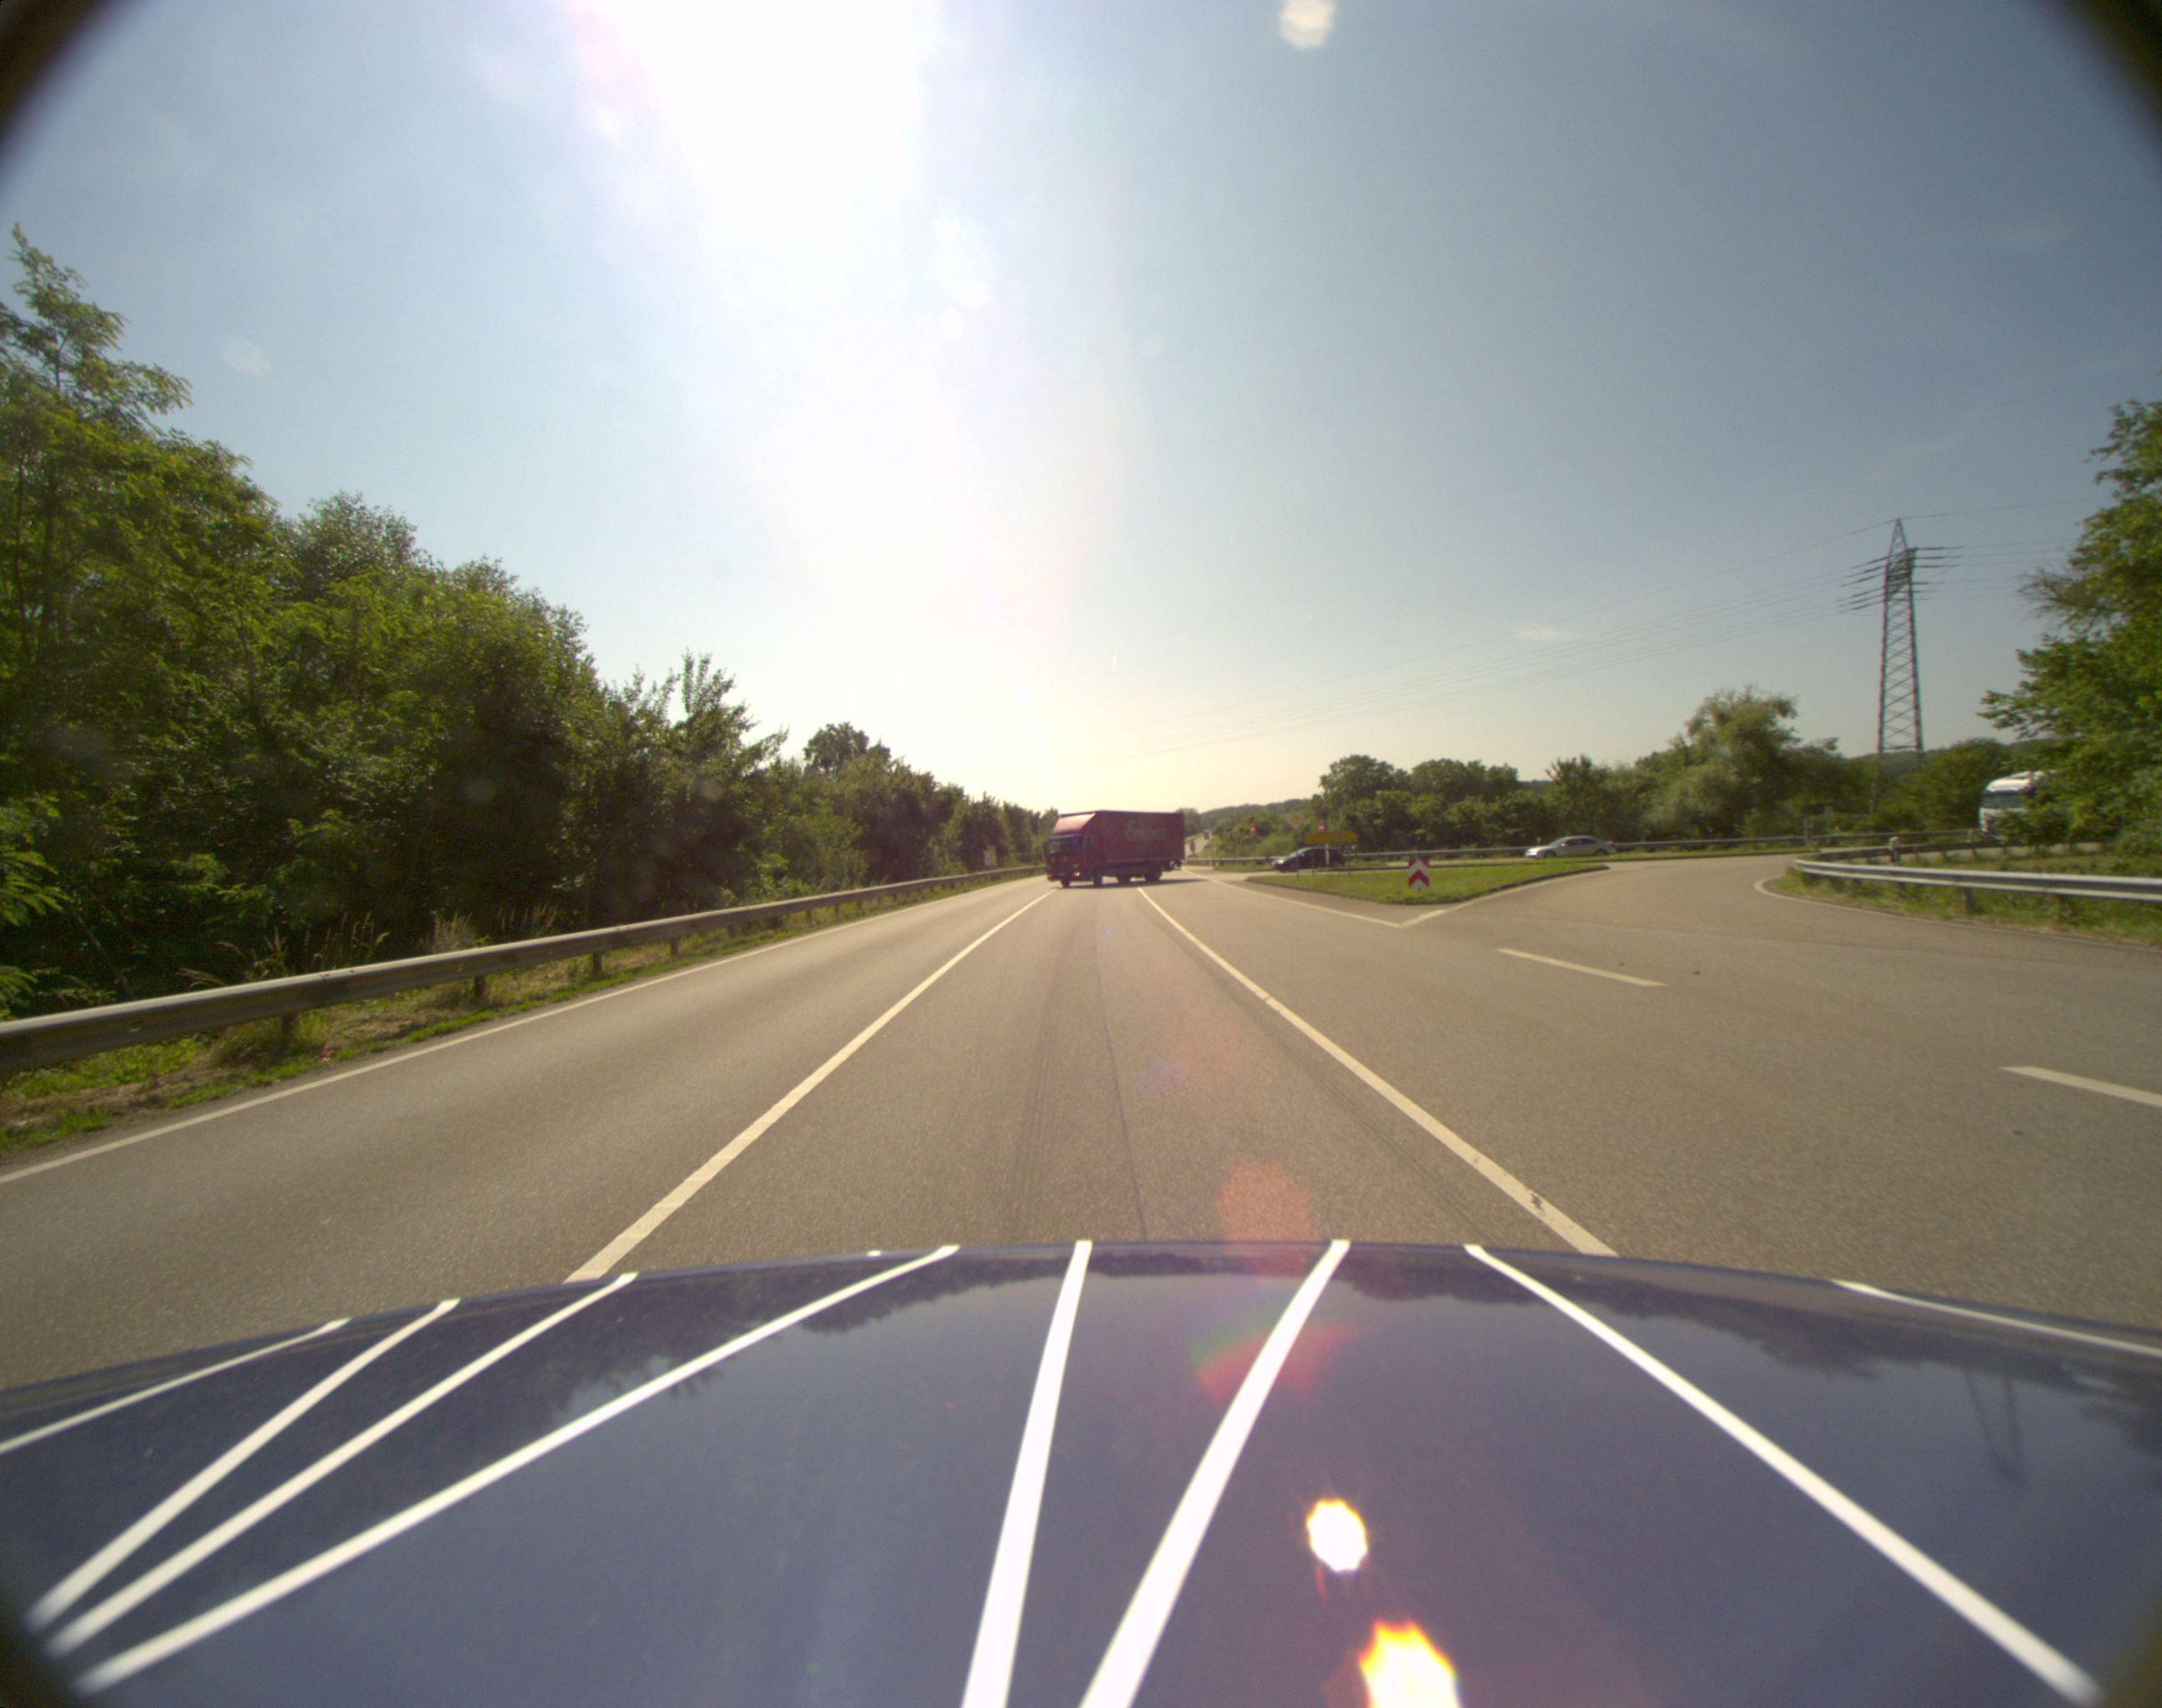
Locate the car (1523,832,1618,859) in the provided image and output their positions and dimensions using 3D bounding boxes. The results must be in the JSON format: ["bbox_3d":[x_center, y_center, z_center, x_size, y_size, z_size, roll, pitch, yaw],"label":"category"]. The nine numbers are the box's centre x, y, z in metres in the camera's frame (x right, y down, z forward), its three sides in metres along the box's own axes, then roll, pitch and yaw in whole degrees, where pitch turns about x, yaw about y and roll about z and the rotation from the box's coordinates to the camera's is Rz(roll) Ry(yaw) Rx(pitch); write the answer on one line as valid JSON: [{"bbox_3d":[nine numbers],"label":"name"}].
[{"bbox_3d":[28.841,-0.517,44.883,4.371,1.377,1.790,-2,0,12],"label":"car"}]

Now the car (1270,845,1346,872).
[{"bbox_3d":[13.655,0.267,45.879,3.998,1.406,1.788,-2,0,-4],"label":"car"}]

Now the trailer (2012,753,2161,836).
[{"bbox_3d":[60.285,-3.418,41.888,13.969,4.217,2.929,-2,3,1],"label":"trailer"}]

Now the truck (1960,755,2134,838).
[{"bbox_3d":[53.271,-3.133,42.052,5.728,4.215,2.939,-2,3,1],"label":"truck"}]

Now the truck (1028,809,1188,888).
[{"bbox_3d":[1.656,-0.358,38.920,2.684,3.640,9.280,-2,1,42],"label":"truck"}]
